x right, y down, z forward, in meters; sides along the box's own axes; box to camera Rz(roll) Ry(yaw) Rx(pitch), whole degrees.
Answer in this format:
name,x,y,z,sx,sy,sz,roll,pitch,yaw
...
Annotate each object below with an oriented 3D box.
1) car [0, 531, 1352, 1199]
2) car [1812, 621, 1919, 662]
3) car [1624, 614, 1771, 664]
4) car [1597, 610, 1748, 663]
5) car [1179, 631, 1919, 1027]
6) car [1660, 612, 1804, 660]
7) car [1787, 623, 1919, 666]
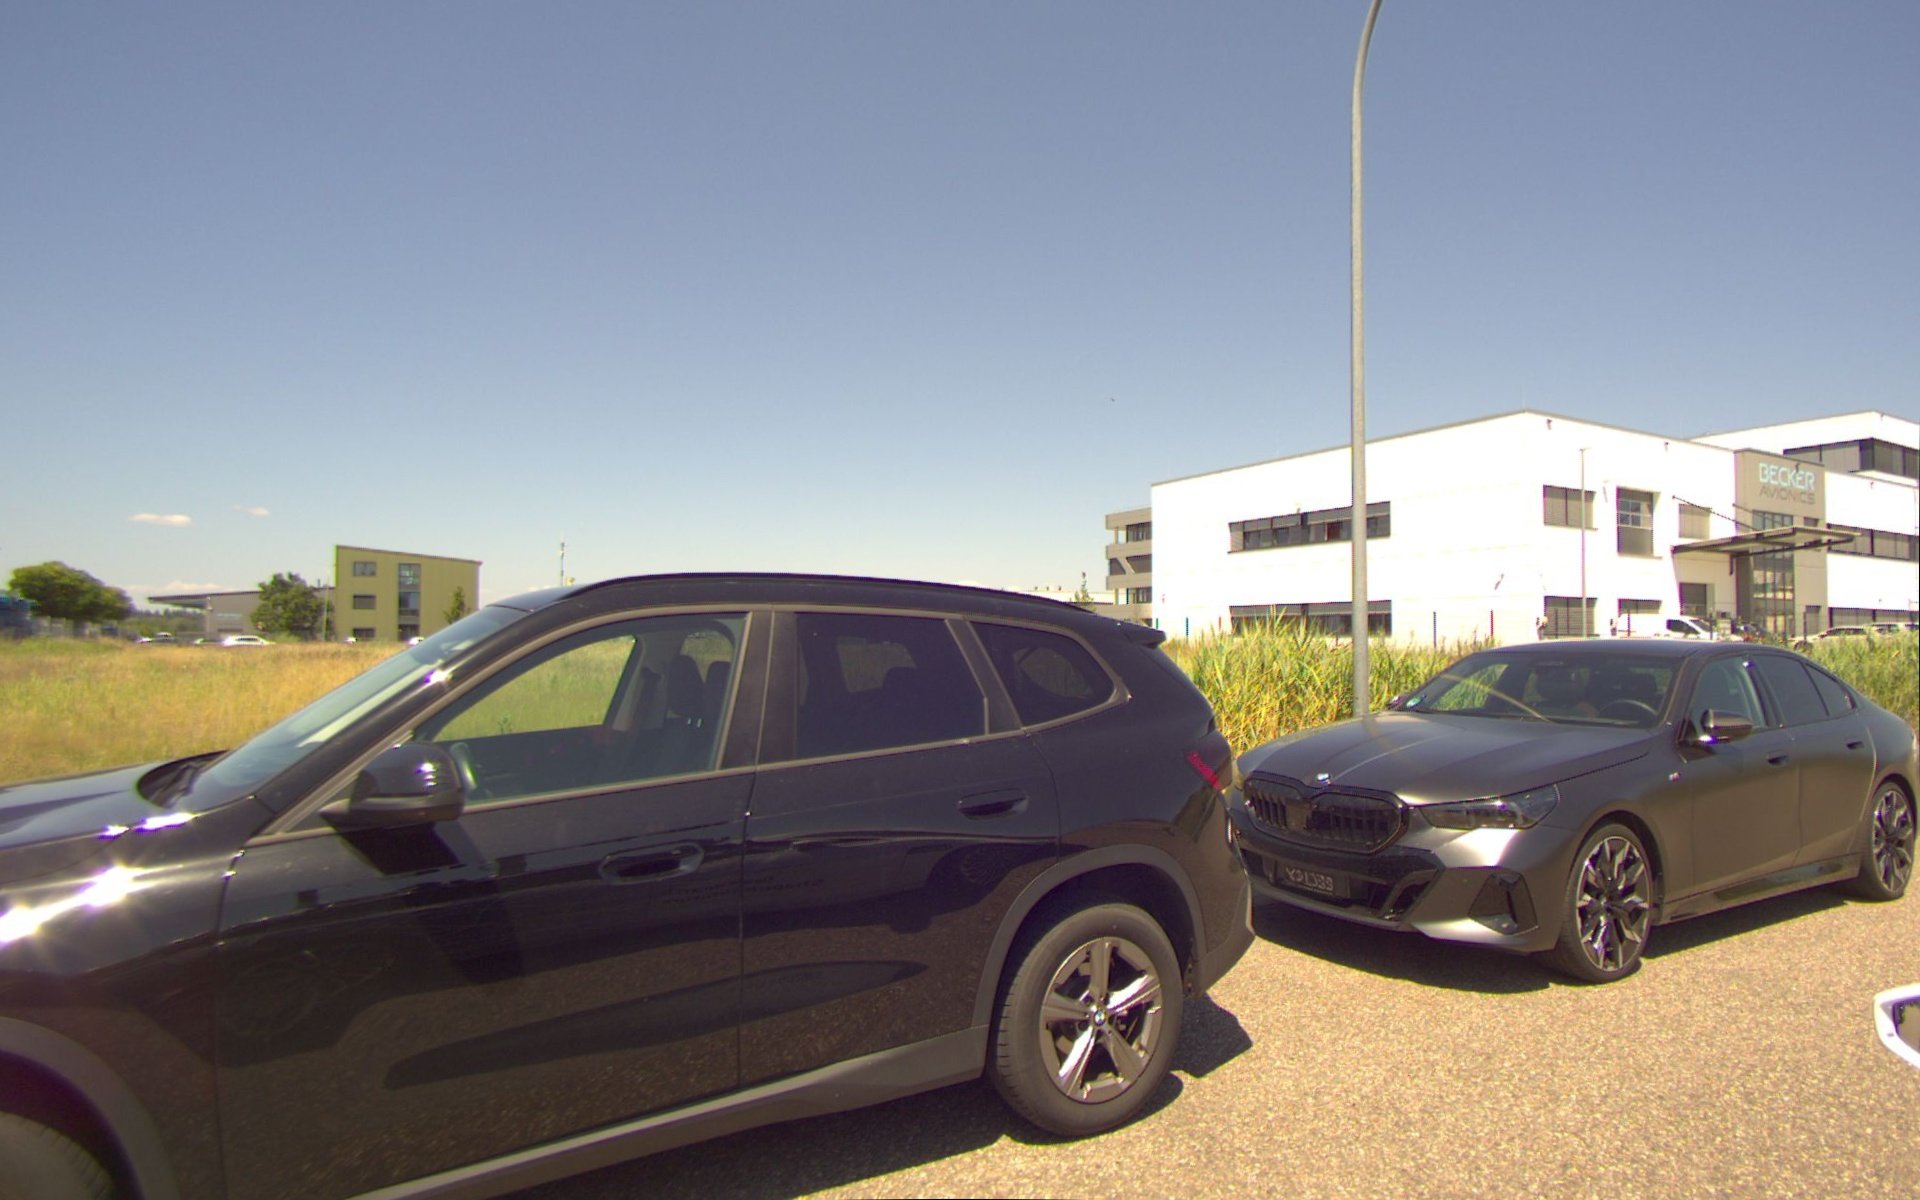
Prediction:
name,x,y,z,sx,sy,sz,roll,pitch,yaw
car,-1.047,0.777,3.054,4.498,1.685,1.761,1,-3,-30
car,46.086,2.117,50.510,2.007,1.968,4.510,1,-3,-29
car,30.619,1.639,41.829,2.007,1.968,4.510,1,-3,-29
car,28.412,1.488,40.205,2.007,1.968,4.510,1,-3,-29
car,3.748,0.946,5.870,4.955,1.505,1.761,1,-3,-30
car,33.174,1.575,43.312,2.007,1.968,4.510,1,-3,-29
car,43.634,2.167,49.116,2.007,1.968,4.510,1,-3,-29
